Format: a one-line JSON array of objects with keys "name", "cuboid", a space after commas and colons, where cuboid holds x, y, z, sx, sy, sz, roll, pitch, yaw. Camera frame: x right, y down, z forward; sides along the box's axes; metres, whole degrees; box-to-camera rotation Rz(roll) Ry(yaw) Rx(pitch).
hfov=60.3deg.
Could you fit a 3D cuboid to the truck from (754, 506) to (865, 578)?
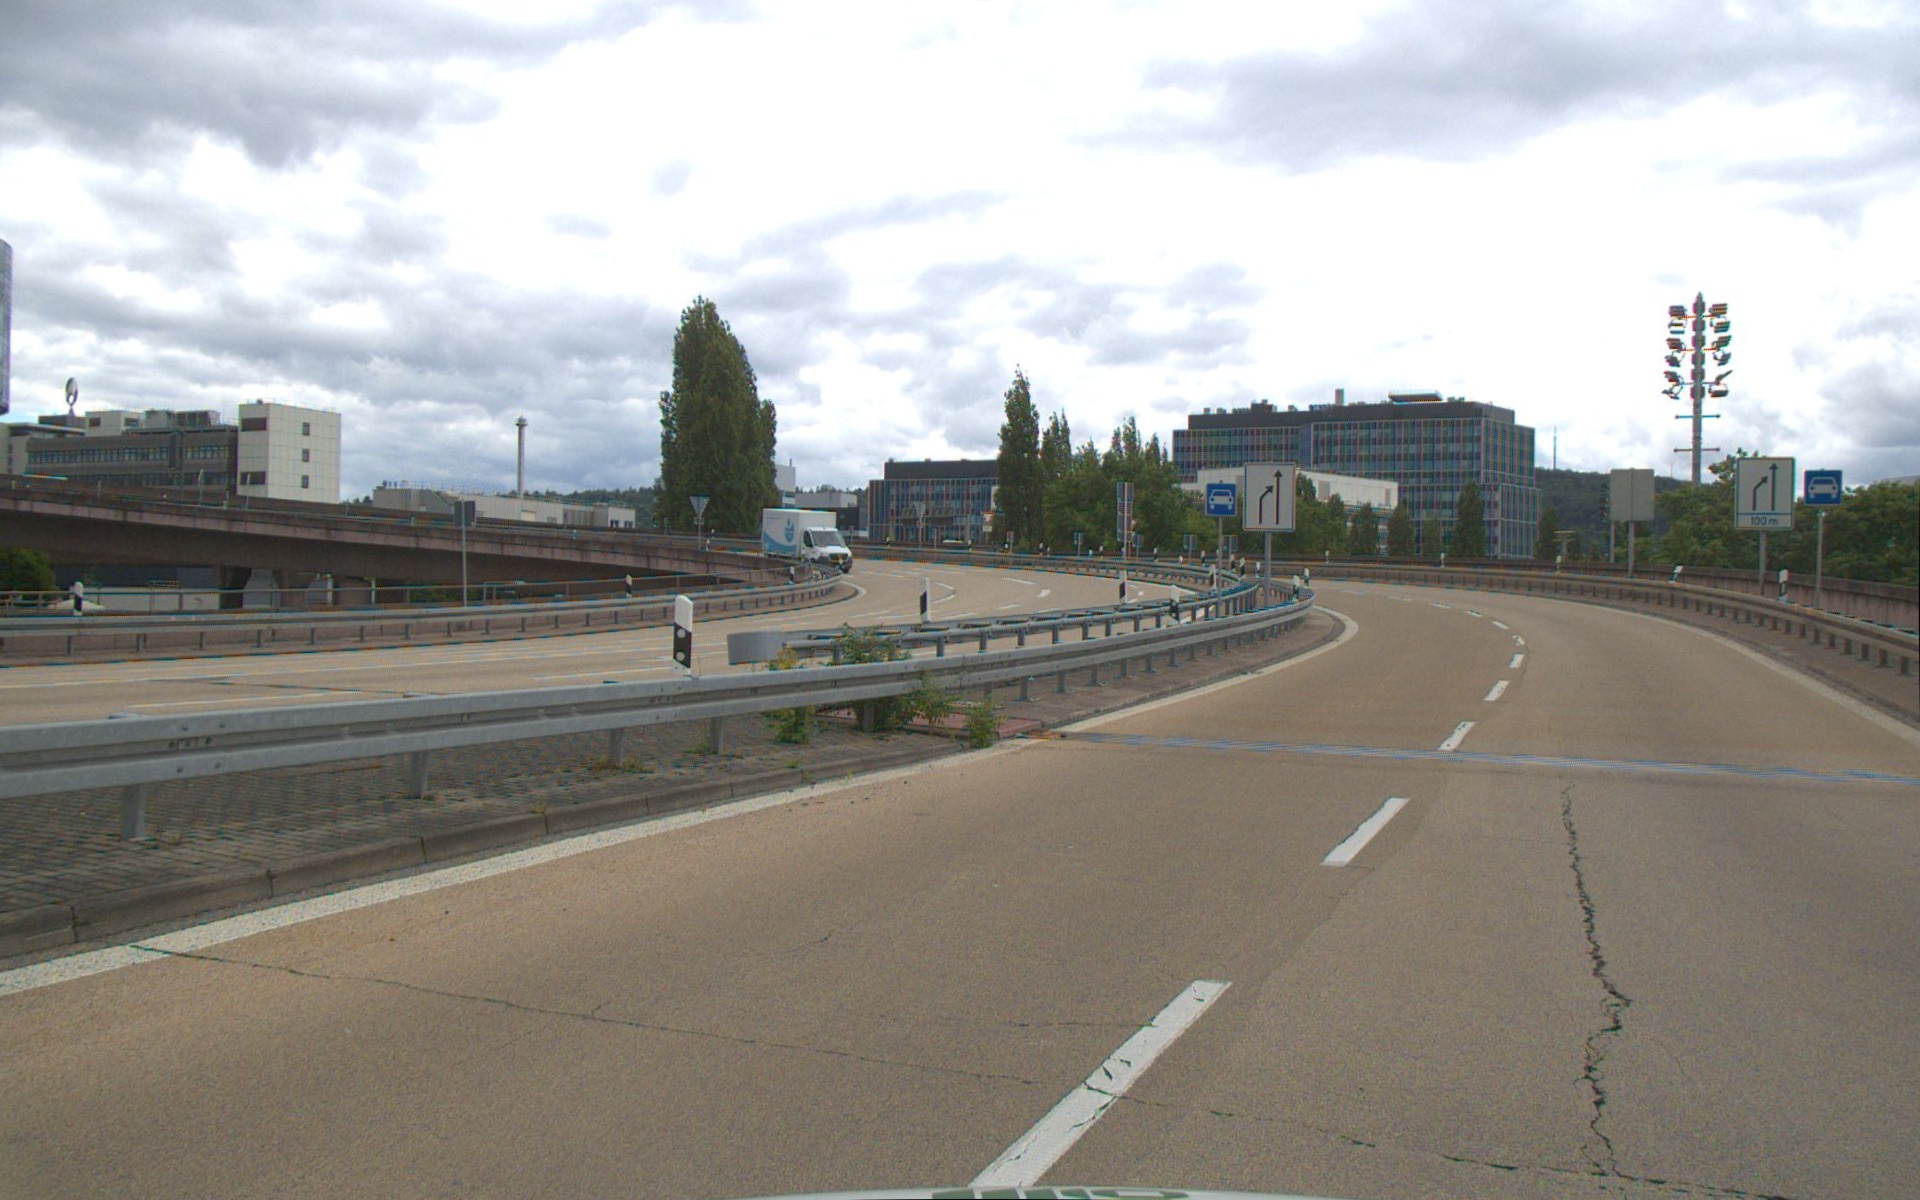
[{"name": "truck", "cuboid": [-7.735, -2.982, 84.155, 2.326, 3.319, 6.909, 2, 2, -36]}]
